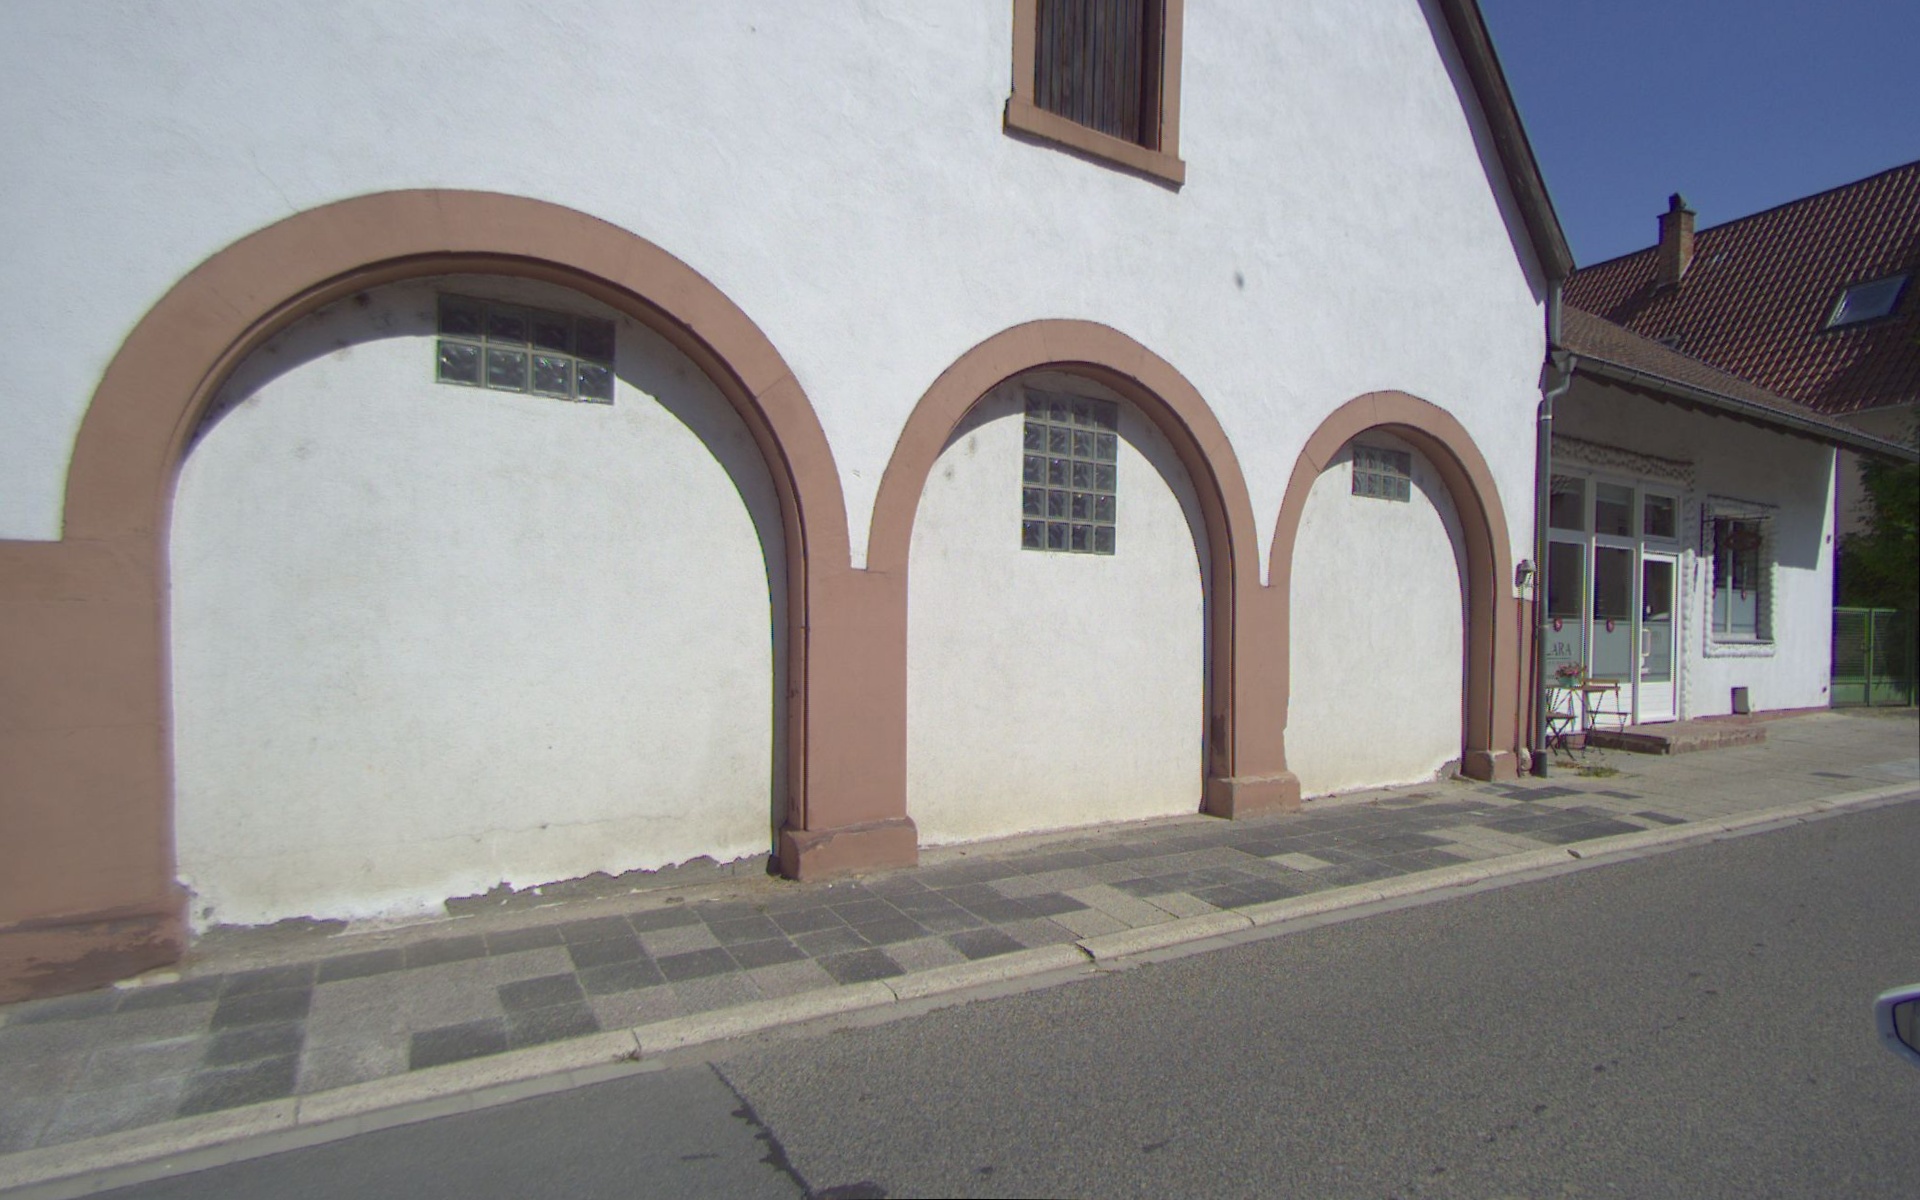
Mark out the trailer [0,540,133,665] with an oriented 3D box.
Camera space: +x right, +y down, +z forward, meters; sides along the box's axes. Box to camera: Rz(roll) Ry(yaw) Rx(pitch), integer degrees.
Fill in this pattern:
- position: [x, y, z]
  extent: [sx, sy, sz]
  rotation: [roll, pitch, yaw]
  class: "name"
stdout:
- position: [-17.377, -0.005, 16.956]
  extent: [4.824, 2.040, 1.990]
  rotation: [2, 0, -22]
  class: "trailer"
